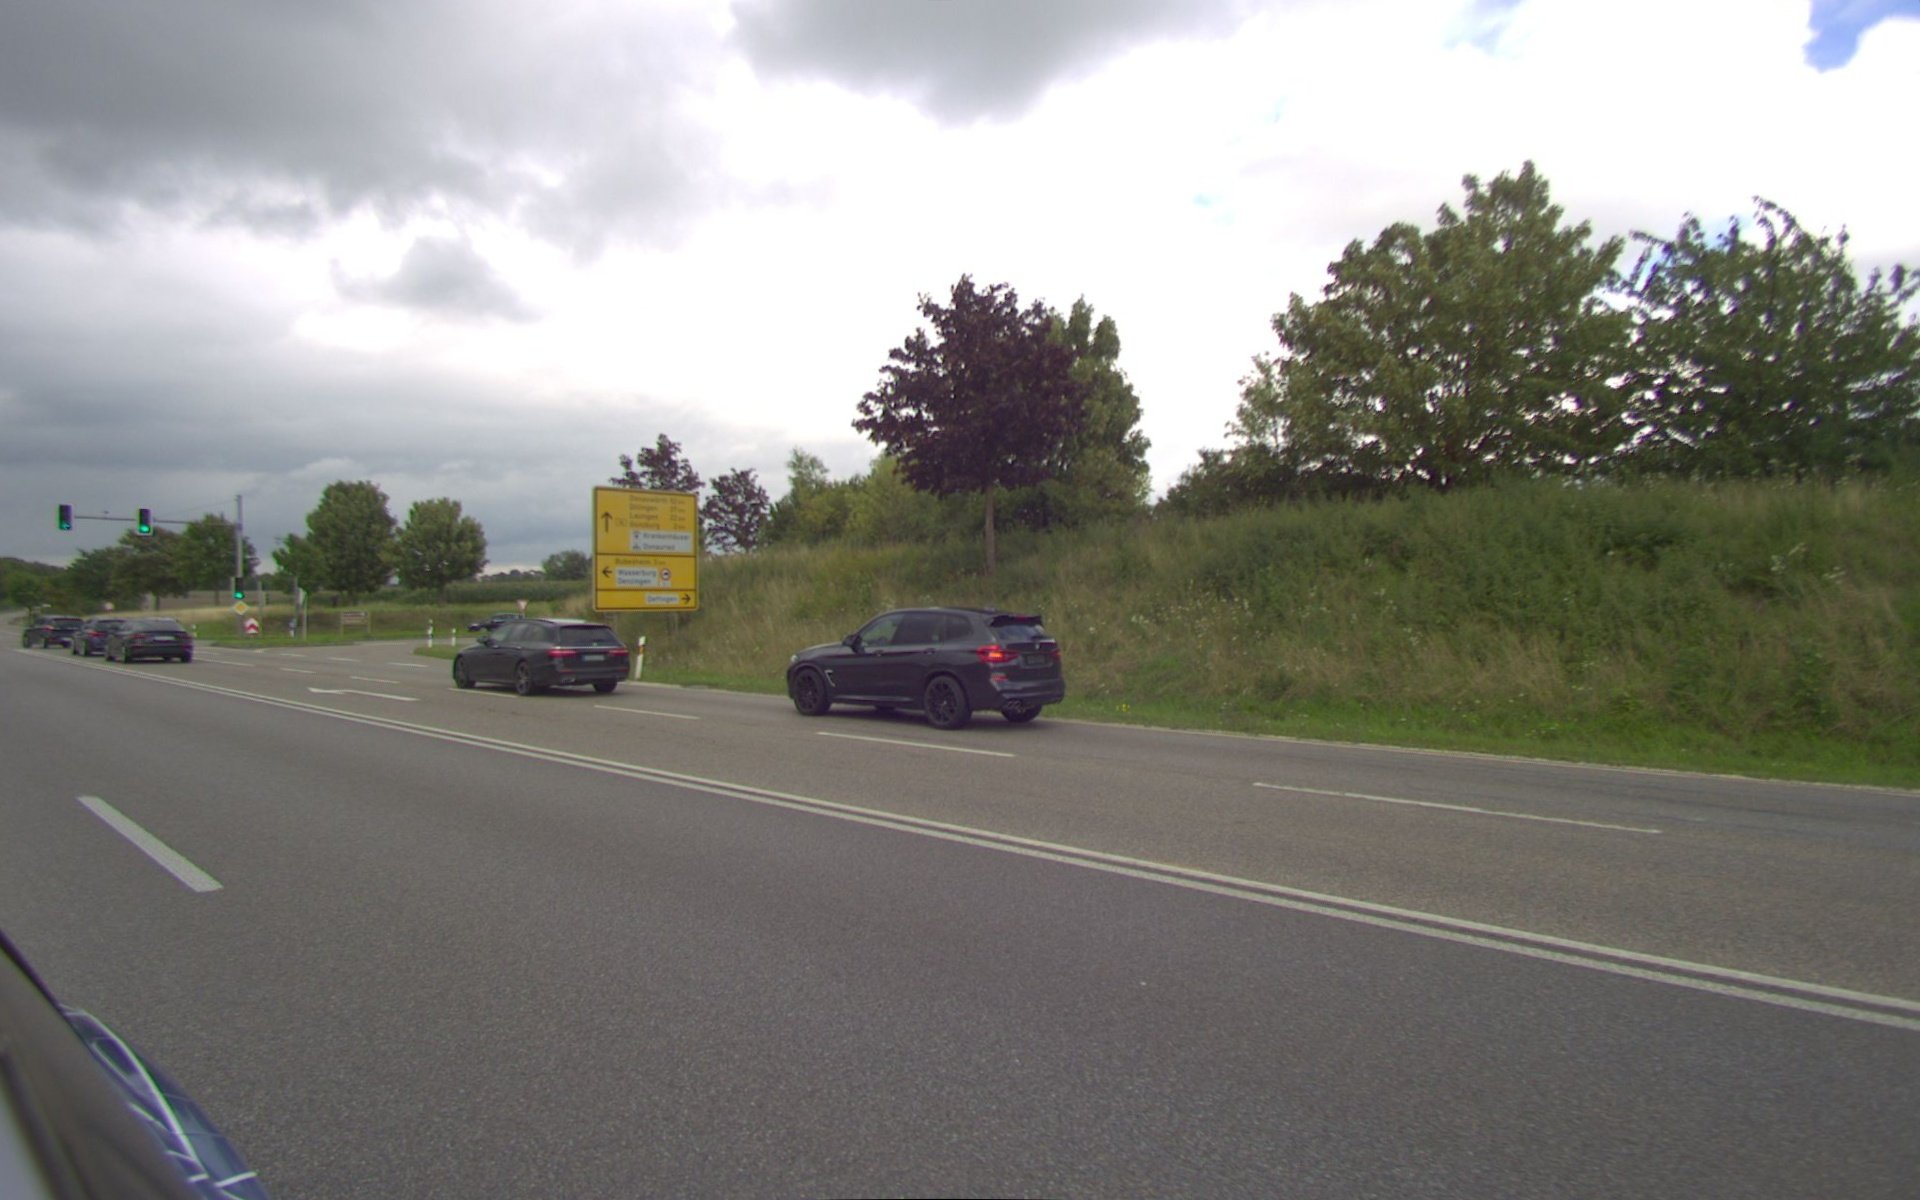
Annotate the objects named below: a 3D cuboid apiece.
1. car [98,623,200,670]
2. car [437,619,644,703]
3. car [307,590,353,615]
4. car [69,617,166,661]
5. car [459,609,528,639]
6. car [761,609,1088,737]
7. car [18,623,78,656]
[{"bbox_3d":[-26.313,1.447,32.776,4.541,1.394,1.747,-1,-1,41],"label":"car"},{"bbox_3d":[-8.643,1.146,20.642,4.992,1.505,1.972,-1,-2,42],"label":"car"},{"bbox_3d":[-55.208,0.224,88.687,3.992,2.029,1.976,-1,0,36],"label":"car"},{"bbox_3d":[-30.945,1.410,37.121,4.880,1.495,2.027,-1,-2,42],"label":"car"},{"bbox_3d":[-33.082,1.713,71.821,1.999,2.029,3.944,-1,-2,42],"label":"car"},{"bbox_3d":[-0.683,0.966,15.259,4.991,1.623,1.972,-1,-2,42],"label":"car"},{"bbox_3d":[-41.298,1.755,45.812,3.944,1.454,1.707,-1,-2,43],"label":"car"}]
